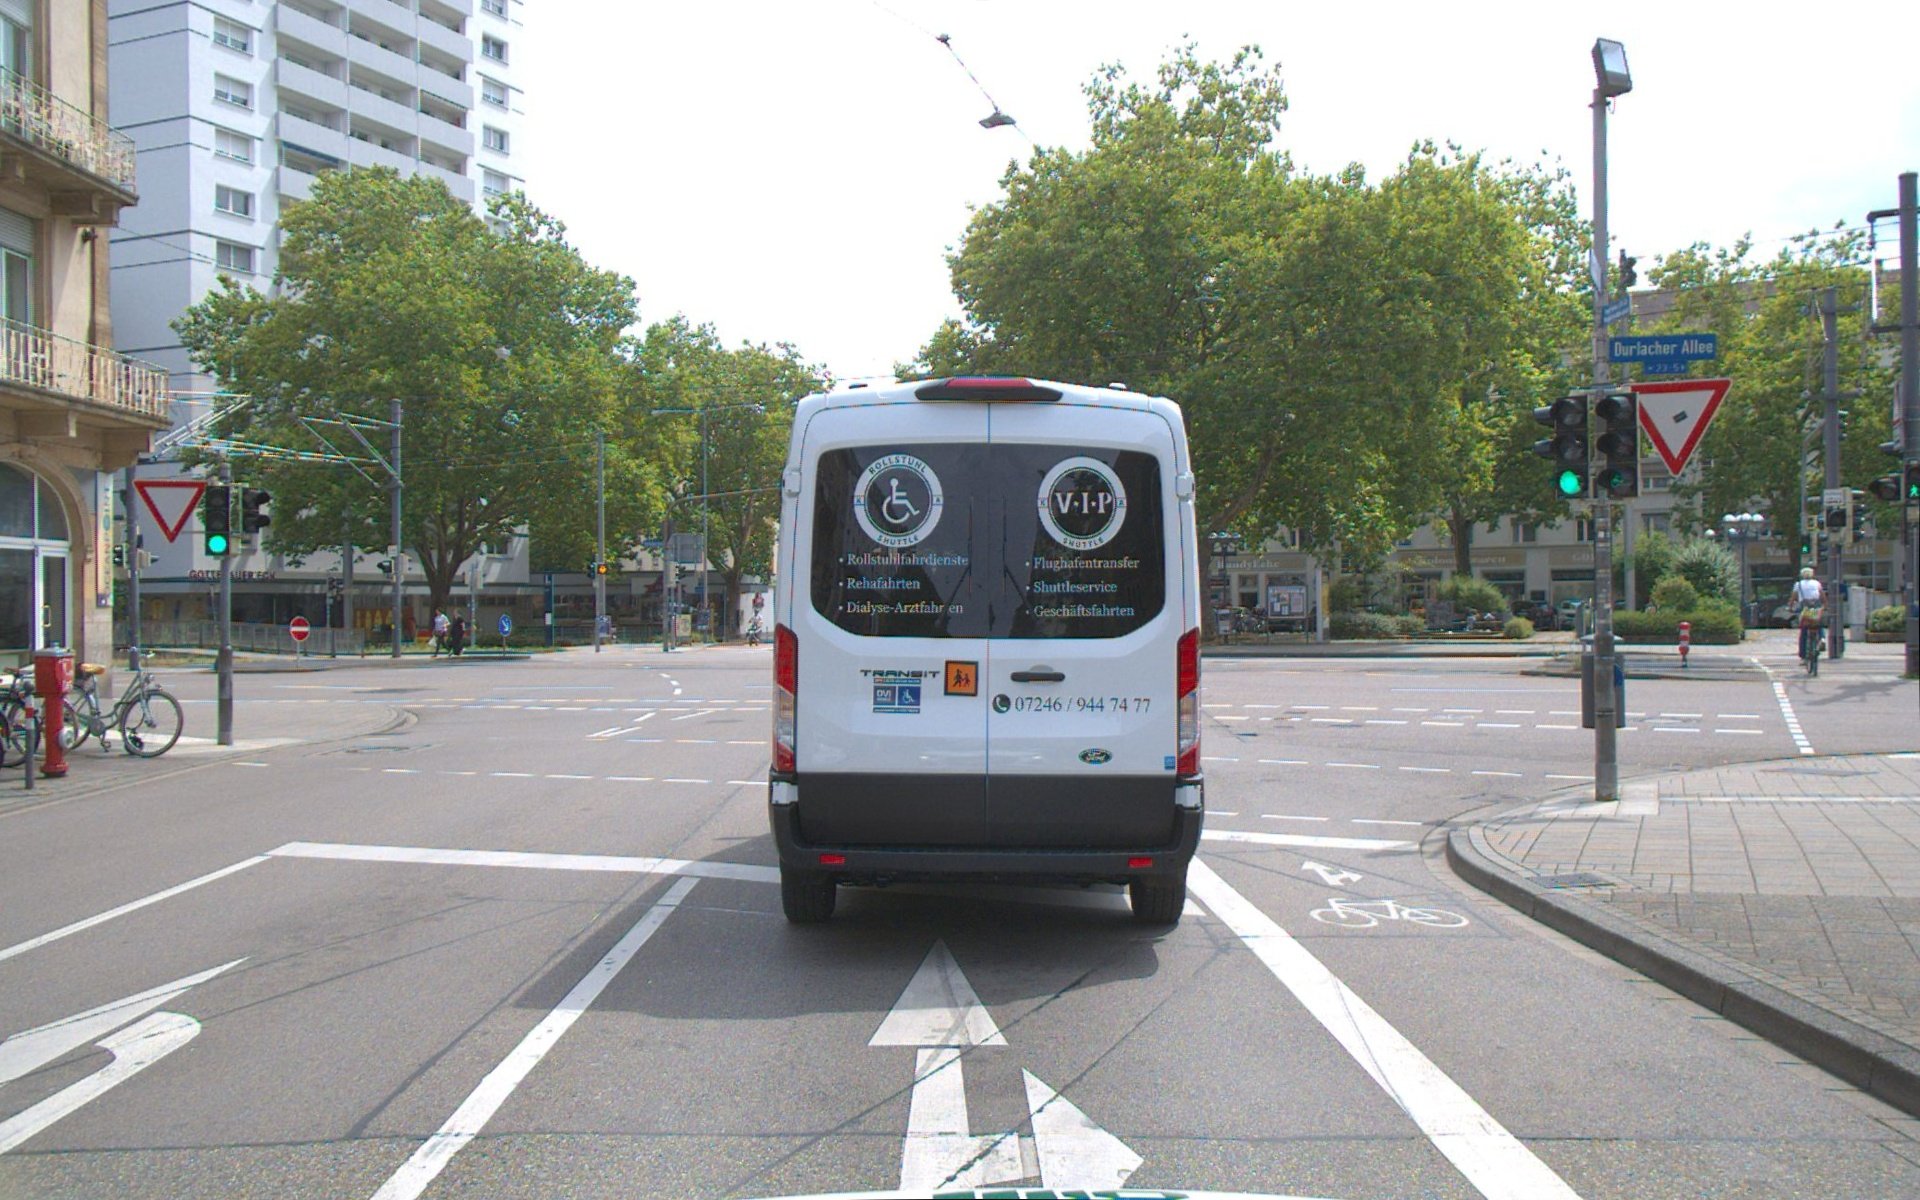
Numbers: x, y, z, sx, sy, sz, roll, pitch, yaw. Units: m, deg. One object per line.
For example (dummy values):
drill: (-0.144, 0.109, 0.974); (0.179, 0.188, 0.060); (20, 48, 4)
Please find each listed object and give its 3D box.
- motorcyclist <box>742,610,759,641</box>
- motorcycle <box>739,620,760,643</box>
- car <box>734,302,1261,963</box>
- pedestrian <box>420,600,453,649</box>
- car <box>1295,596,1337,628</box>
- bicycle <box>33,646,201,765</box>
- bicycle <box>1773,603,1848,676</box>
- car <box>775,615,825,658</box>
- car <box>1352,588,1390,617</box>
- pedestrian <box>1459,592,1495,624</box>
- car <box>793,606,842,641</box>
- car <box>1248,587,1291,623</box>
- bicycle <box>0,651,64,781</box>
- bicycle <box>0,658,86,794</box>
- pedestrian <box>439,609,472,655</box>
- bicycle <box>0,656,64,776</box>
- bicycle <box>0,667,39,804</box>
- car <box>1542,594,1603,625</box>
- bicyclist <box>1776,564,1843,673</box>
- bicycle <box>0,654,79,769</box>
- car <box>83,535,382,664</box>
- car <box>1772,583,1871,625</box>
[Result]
motorcyclist: (-9.634, 1.186, 76.190); (0.669, 1.420, 0.681); (-1, 0, 0)
motorcycle: (-9.631, 1.449, 75.717); (0.669, 0.988, 2.323); (-1, 0, 0)
car: (0.087, 0.161, 9.145); (2.138, 2.694, 4.626); (-1, -1, -2)
pedestrian: (-17.287, 0.811, 54.624); (0.794, 1.600, 0.720); (-1, 0, 38)
car: (19.826, 0.634, 92.248); (1.766, 1.713, 4.002); (-1, 0, 4)
bicycle: (-9.212, 1.132, 18.070); (1.836, 1.187, 0.498); (1, -1, 20)
bicycle: (13.584, 0.611, 26.462); (0.884, 1.094, 1.970); (-1, 0, 22)
car: (-6.106, 1.390, 63.462); (1.559, 1.534, 3.807); (-1, 0, 0)
car: (25.092, 0.158, 100.948); (1.767, 1.713, 4.000); (-1, 0, 21)
pedestrian: (21.416, 0.346, 68.598); (1.068, 1.257, 1.441); (-2, -1, 4)
car: (-6.295, 1.019, 73.446); (1.707, 1.452, 4.033); (-1, 0, 2)
car: (17.406, 0.262, 93.162); (1.951, 1.964, 4.002); (-1, 0, 4)
bicycle: (-9.612, 1.082, 15.730); (1.775, 1.186, 0.593); (2, -1, -8)
bicycle: (-8.989, 1.099, 15.001); (1.771, 1.140, 0.594); (3, 0, 3)
pedestrian: (-17.010, 1.072, 55.768); (0.916, 1.541, 0.719); (-1, 0, 42)
bicycle: (-9.941, 1.123, 16.338); (1.775, 1.140, 0.593); (2, -1, -8)
bicycle: (-9.022, 1.175, 14.340); (1.771, 1.140, 0.594); (-1, 0, 6)
car: (32.013, 0.470, 86.503); (1.951, 1.529, 4.002); (-1, 0, 4)
bicyclist: (13.577, 0.286, 26.456); (0.885, 1.713, 0.756); (-1, 0, 23)
bicycle: (-10.153, 1.129, 17.032); (1.775, 1.140, 0.593); (2, -1, -8)
car: (-24.011, 0.014, 54.529); (9.687, 3.984, 3.453); (0, 0, 24)
car: (39.981, 0.183, 76.863); (3.907, 1.916, 1.856); (-1, 0, 24)
